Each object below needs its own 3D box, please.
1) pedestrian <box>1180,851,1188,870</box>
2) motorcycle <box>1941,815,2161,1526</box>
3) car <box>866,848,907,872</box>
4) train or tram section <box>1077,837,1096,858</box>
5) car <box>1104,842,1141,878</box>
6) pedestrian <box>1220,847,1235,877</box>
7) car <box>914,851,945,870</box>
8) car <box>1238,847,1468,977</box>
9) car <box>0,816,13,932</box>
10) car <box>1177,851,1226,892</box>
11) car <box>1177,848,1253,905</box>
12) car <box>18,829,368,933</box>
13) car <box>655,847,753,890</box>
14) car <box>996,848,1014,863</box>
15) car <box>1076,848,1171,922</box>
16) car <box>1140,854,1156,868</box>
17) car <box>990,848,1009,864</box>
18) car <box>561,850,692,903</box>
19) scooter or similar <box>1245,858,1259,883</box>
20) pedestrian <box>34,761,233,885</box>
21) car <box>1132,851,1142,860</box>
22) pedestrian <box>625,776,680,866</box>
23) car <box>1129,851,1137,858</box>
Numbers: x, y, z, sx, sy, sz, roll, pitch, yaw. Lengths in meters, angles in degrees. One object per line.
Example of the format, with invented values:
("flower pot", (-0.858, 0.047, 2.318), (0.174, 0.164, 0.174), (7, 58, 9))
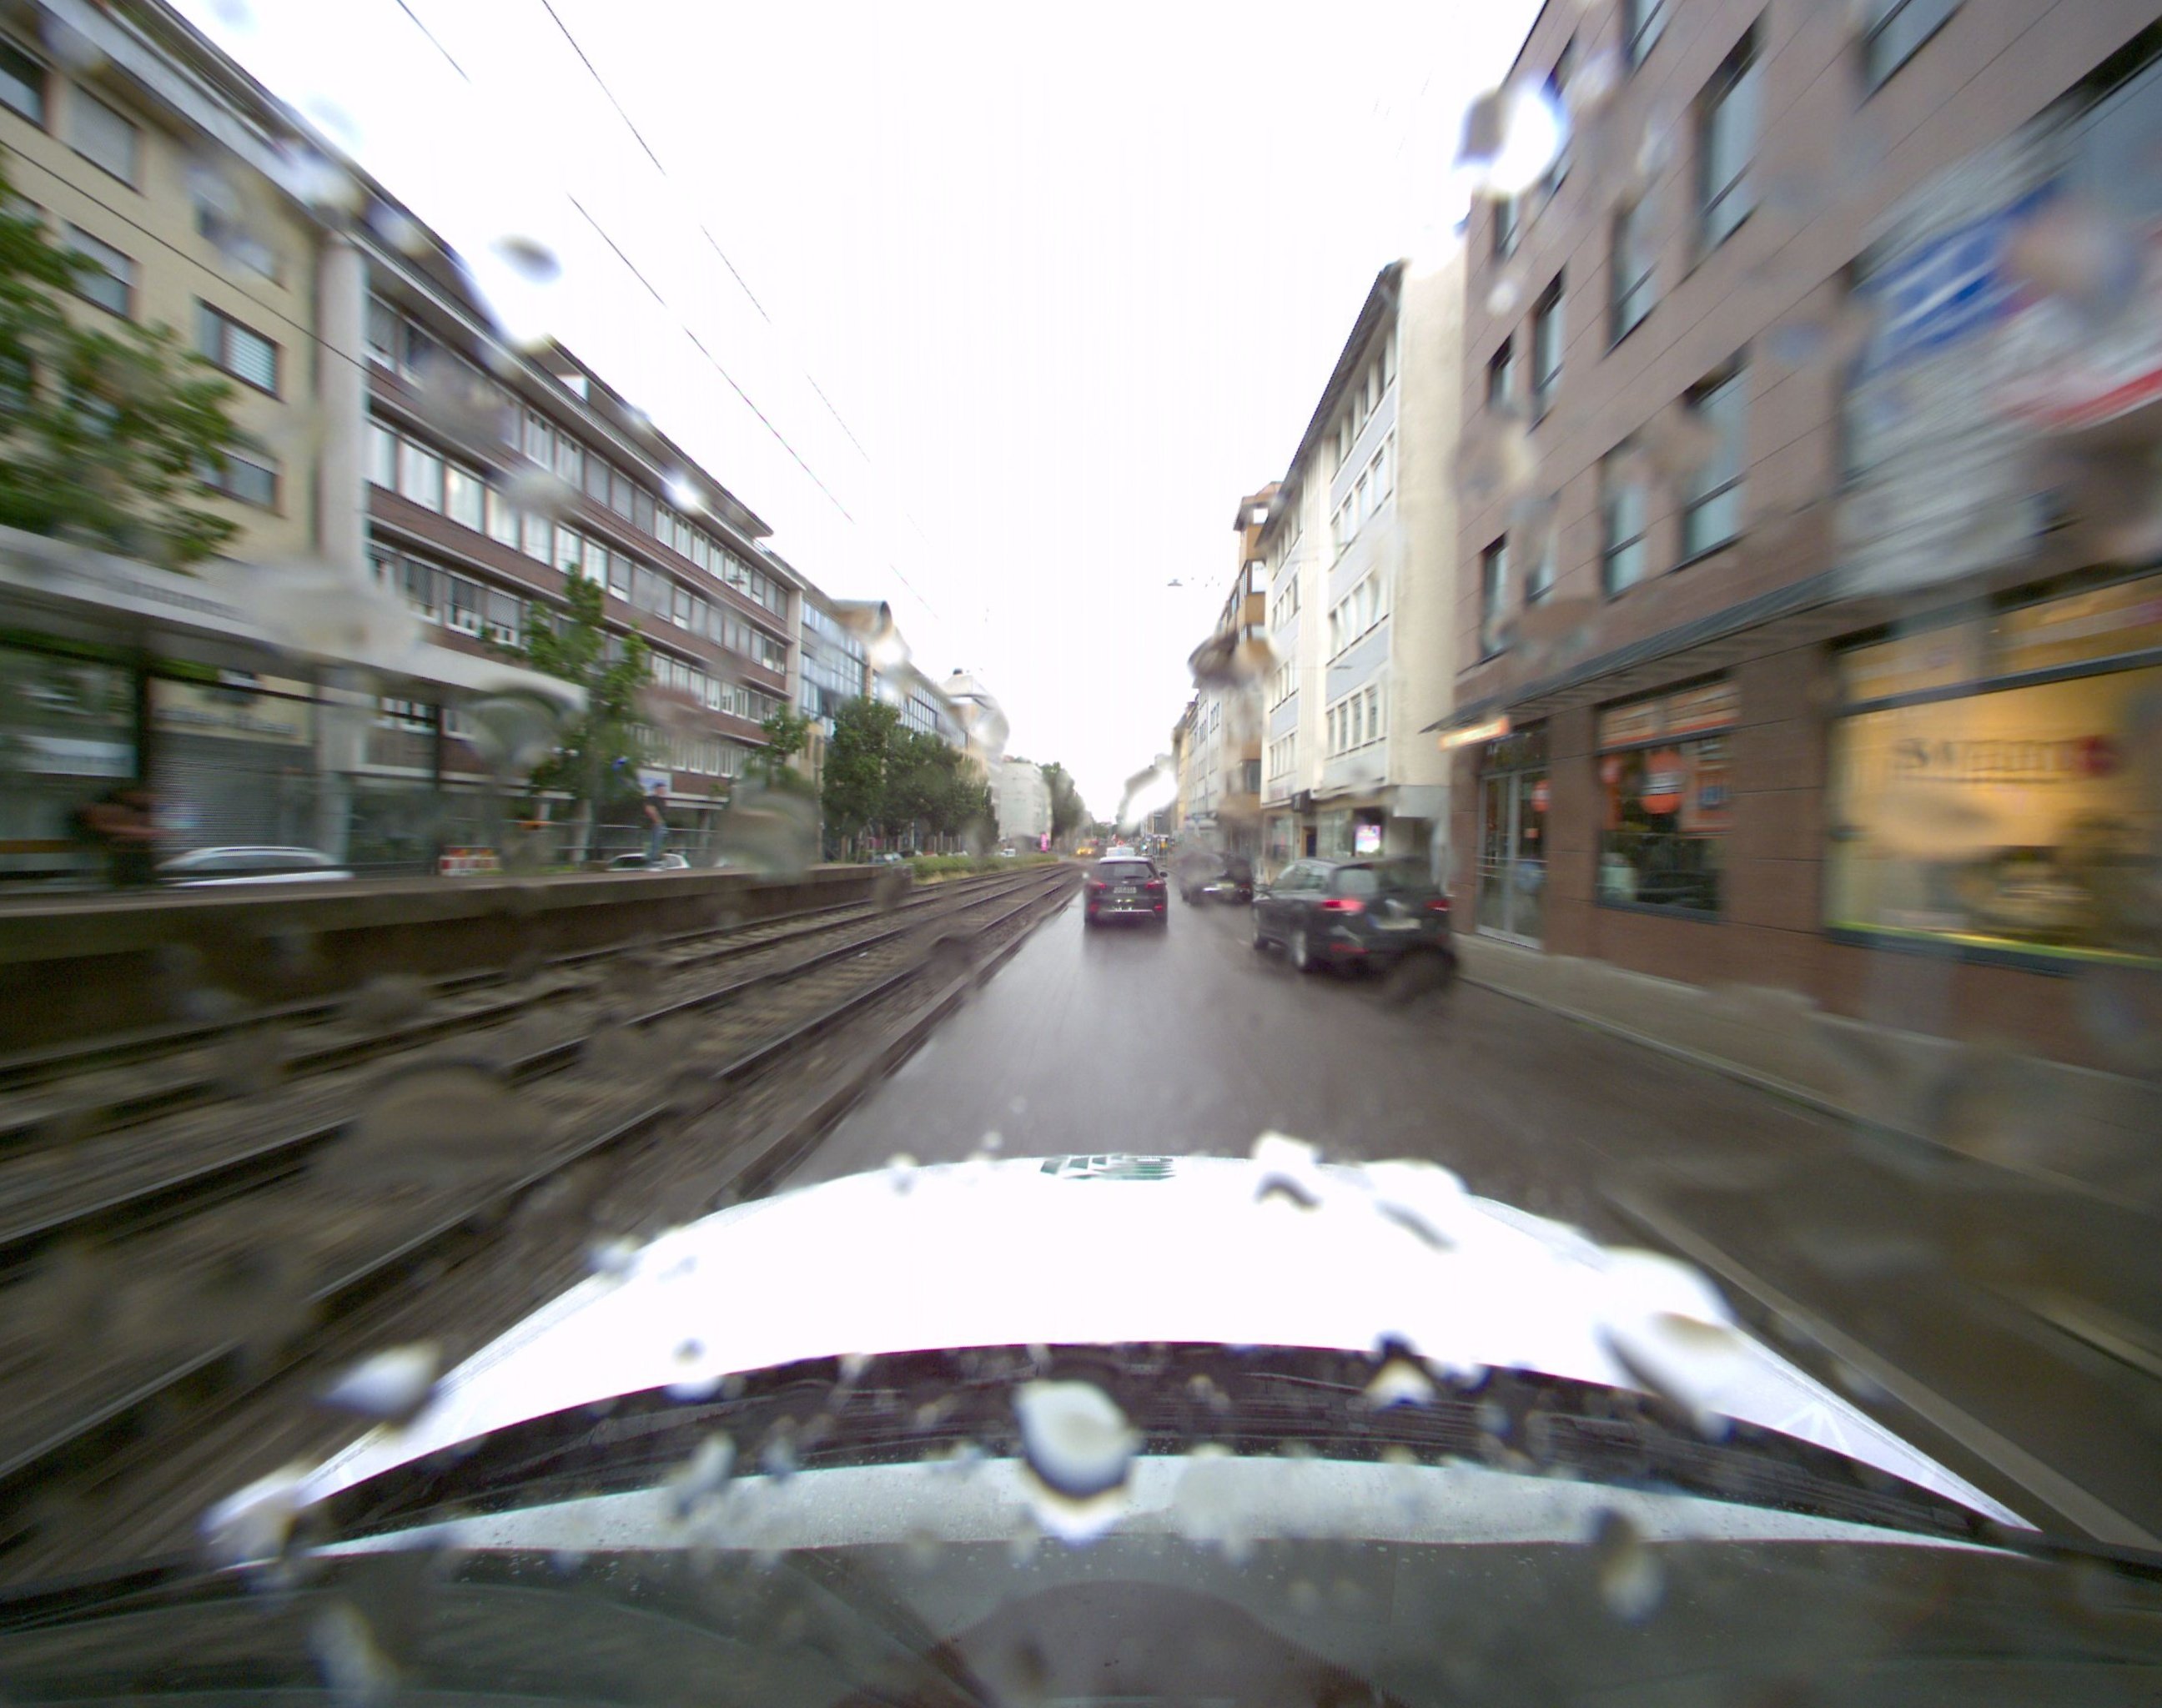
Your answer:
("pedestrian", (8.563, 0.519, 67.562), (0.609, 1.538, 0.649), (1, 0, 2))
("motorcycle", (3.214, 0.636, 1.522), (2.066, 1.407, 0.803), (0, -1, 21))
("car", (-12.245, 0.384, 51.509), (1.563, 1.436, 4.176), (1, 0, 0))
("train or tram section", (1.011, -1.247, 154.038), (3.501, 3.777, 11.330), (1, 0, 0))
("car", (2.336, 0.325, 45.039), (1.898, 1.865, 4.579), (1, -1, 4))
("pedestrian", (8.034, 0.437, 44.687), (0.693, 1.652, 0.966), (1, 0, 2))
("car", (-11.664, 0.482, 62.886), (1.563, 1.436, 4.176), (1, 0, 0))
("car", (3.545, 0.668, 11.598), (1.768, 1.468, 4.609), (1, 0, 0))
("car", (-14.094, 0.233, 8.261), (1.563, 1.436, 3.735), (1, 0, 0))
("car", (4.611, 0.651, 31.561), (1.551, 1.476, 3.568), (1, 0, 3))
("car", (4.195, 0.652, 26.199), (1.800, 1.631, 5.172), (1, 0, 2))
("car", (-14.024, 0.379, 13.239), (1.563, 1.436, 3.735), (1, 0, 0))
("car", (-13.443, 0.489, 29.336), (1.563, 1.436, 4.176), (1, 0, 0))
("car", (-9.986, 0.263, 107.744), (1.900, 1.865, 4.572), (1, -1, 0))
("car", (0.955, 0.649, 18.191), (1.898, 1.462, 3.447), (1, -1, 3))
("car", (8.021, 0.818, 97.856), (1.898, 1.633, 4.578), (1, -1, 4))
("car", (-10.035, 0.304, 100.903), (1.900, 1.865, 4.572), (1, -1, 0))
("car", (-13.578, 0.624, 24.648), (1.563, 1.436, 4.237), (1, 0, 0))
("scooter or similar", (7.581, 0.719, 36.147), (0.209, 1.083, 1.231), (1, 0, -5))
("pedestrian", (-9.157, -0.282, 7.922), (0.891, 1.123, 0.847), (1, 0, -8))
("car", (10.906, 0.296, 159.720), (1.898, 1.633, 4.578), (1, -1, 4))
("pedestrian", (-8.819, -0.659, 16.785), (0.653, 1.802, 0.850), (1, 0, 0))
("car", (12.155, 0.109, 191.435), (1.898, 1.633, 4.578), (1, -1, 4))
